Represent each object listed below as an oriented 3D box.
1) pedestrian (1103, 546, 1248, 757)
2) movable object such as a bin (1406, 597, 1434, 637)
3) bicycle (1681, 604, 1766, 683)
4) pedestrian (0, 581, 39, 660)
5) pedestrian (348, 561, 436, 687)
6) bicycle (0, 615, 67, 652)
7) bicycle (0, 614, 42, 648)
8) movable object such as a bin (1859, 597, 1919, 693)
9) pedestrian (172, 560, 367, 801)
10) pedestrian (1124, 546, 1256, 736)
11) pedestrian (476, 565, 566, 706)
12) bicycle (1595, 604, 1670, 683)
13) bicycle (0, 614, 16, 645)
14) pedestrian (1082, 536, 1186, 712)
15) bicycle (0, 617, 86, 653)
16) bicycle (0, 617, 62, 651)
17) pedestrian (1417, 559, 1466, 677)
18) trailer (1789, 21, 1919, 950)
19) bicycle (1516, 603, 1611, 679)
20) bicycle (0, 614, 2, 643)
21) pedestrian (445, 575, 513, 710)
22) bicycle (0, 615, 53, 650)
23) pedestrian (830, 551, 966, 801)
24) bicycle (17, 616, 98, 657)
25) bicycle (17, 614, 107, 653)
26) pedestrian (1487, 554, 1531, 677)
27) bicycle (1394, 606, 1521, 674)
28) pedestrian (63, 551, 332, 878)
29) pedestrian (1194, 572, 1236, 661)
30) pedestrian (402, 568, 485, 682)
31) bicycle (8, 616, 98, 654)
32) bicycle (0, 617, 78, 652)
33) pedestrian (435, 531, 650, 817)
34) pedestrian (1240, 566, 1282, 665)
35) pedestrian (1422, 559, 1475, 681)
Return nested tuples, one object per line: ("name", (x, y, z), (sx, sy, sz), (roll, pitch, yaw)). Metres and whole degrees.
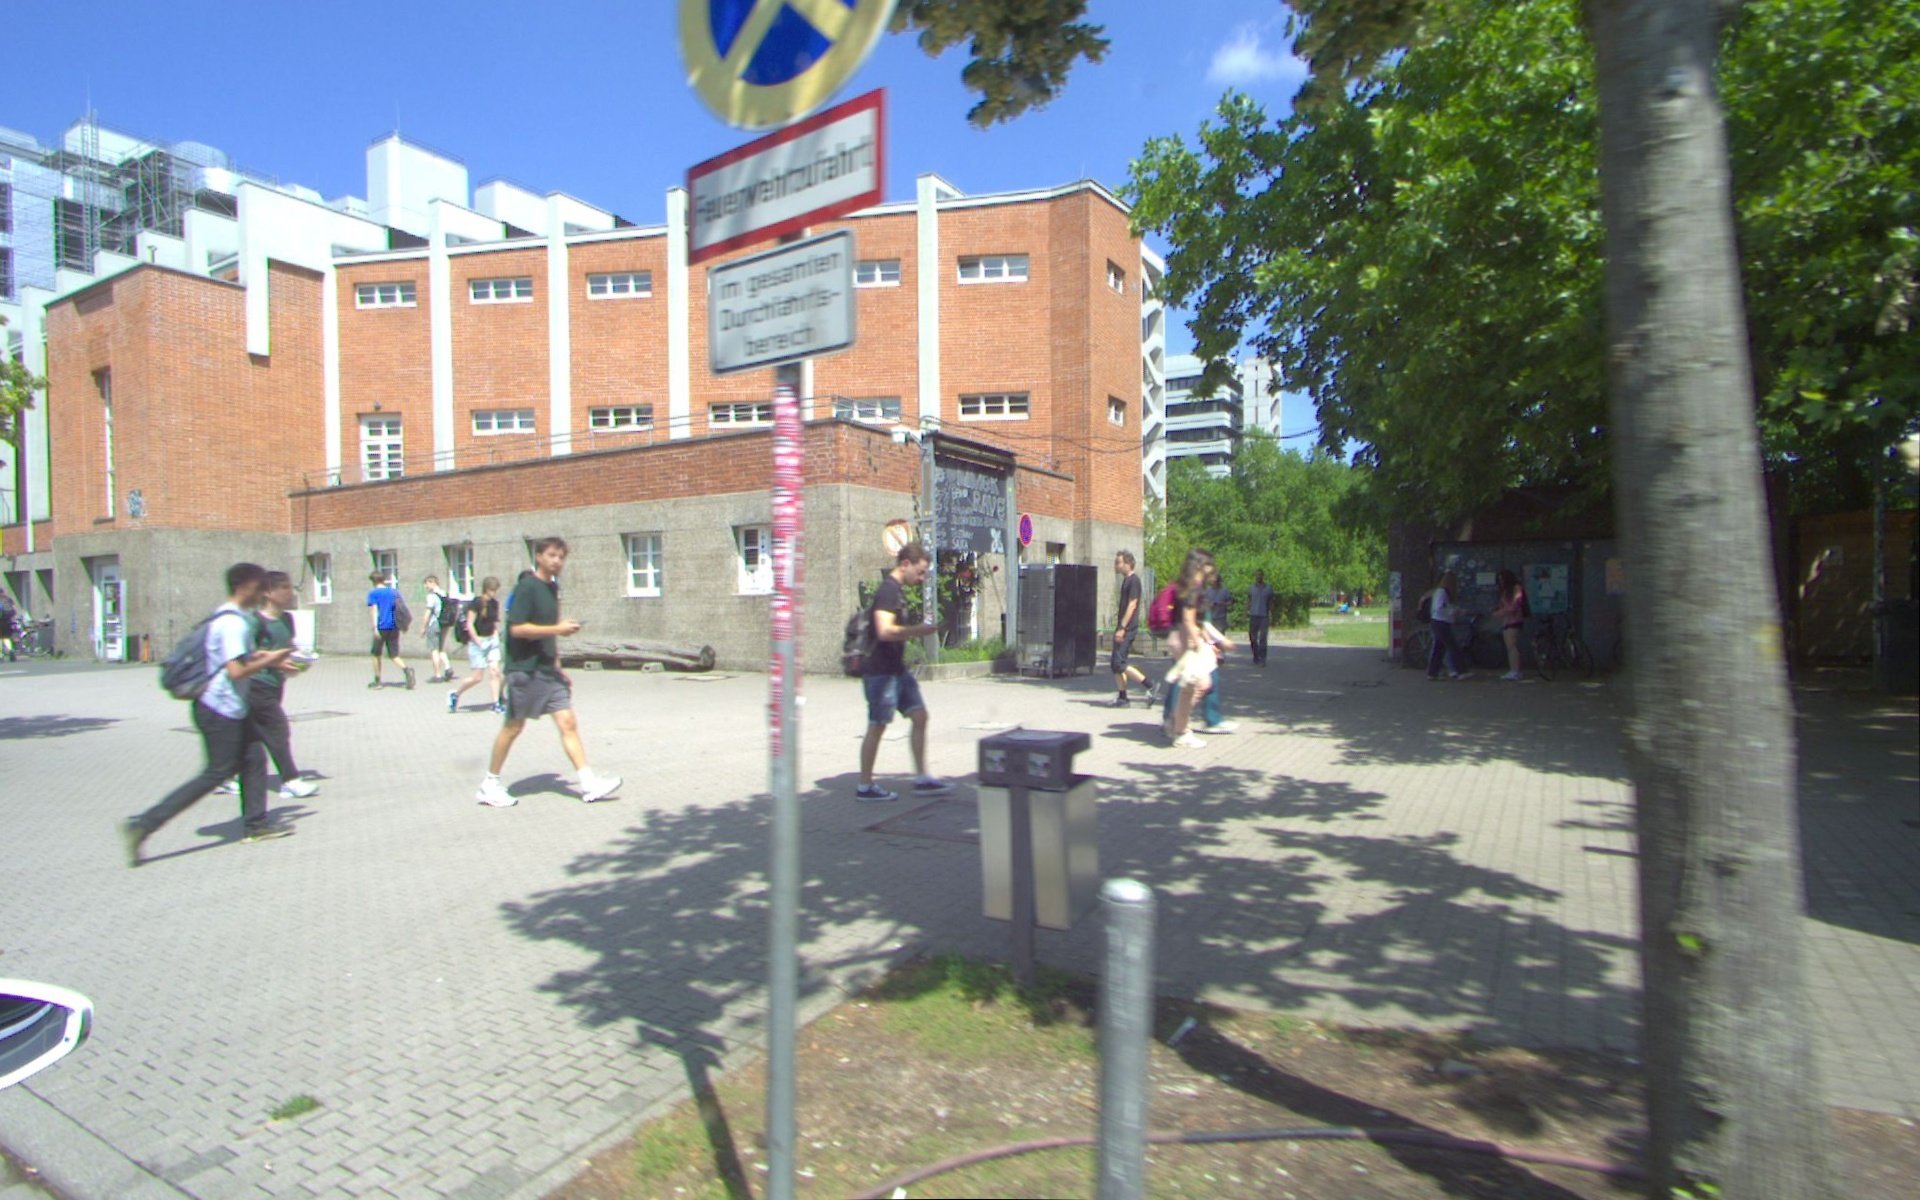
("pedestrian", (1.835, 0.399, 8.469), (0.935, 1.660, 0.873), (-1, 2, 31))
("movable object such as a bin", (15.557, 0.575, 33.877), (0.756, 1.338, 0.780), (1, 1, 31))
("bicycle", (11.361, 0.619, 14.865), (0.774, 1.085, 2.383), (-1, -1, 43))
("pedestrian", (-23.366, 0.488, 24.599), (1.100, 1.885, 0.788), (0, 1, 32))
("pedestrian", (-8.961, 0.358, 15.809), (0.978, 1.918, 0.700), (1, 3, 26))
("bicycle", (-27.649, 0.986, 29.566), (0.552, 0.998, 1.805), (0, 2, 30))
("bicycle", (-29.704, 0.984, 30.970), (0.552, 0.998, 1.805), (0, 2, 30))
("movable object such as a bin", (11.000, 0.517, 11.615), (0.732, 1.085, 0.598), (-2, 0, 32))
("pedestrian", (-5.269, 0.581, 7.708), (0.975, 1.743, 0.703), (-1, 2, -11))
("pedestrian", (2.145, 0.368, 9.311), (0.935, 1.659, 0.874), (-2, 1, 30))
("pedestrian", (-5.816, 0.447, 13.299), (0.739, 1.813, 0.708), (0, 3, 19))
("bicycle", (10.280, 0.624, 15.263), (0.773, 1.086, 2.387), (-1, 0, 38))
("bicycle", (-31.394, 0.982, 31.908), (0.552, 0.998, 1.805), (0, 2, 30))
("pedestrian", (1.969, 0.250, 11.263), (1.057, 1.893, 0.761), (-1, 3, 16))
("bicycle", (-26.393, 0.979, 28.781), (0.552, 0.924, 1.805), (0, 2, 30))
("bicycle", (-28.233, 1.019, 30.044), (0.552, 0.924, 1.805), (0, 2, 30))
("pedestrian", (8.003, 0.297, 16.653), (0.548, 1.908, 0.529), (-2, 2, 3))
("trailer", (6.112, -0.424, 2.227), (6.164, 3.093, 2.686), (0, 2, 30))
("bicycle", (9.553, 0.612, 15.800), (0.775, 1.086, 2.382), (-1, 0, 44))
("bicycle", (-33.021, 0.993, 33.137), (0.552, 0.998, 1.805), (0, 2, 30))
("pedestrian", (-6.038, 0.515, 12.580), (0.561, 1.653, 0.502), (0, 1, 19))
("bicycle", (-28.805, 0.996, 30.354), (0.552, 0.998, 1.805), (0, 2, 30))
("pedestrian", (-0.452, 0.480, 6.968), (0.815, 1.617, 0.849), (-1, 2, -12))
("bicycle", (-24.867, 0.986, 27.622), (0.552, 1.047, 1.532), (0, 2, 30))
("bicycle", (-25.290, 0.930, 28.226), (0.552, 0.982, 1.787), (0, 1, 30))
("pedestrian", (8.694, 0.235, 15.850), (0.523, 1.908, 0.445), (1, 1, 41))
("bicycle", (8.845, 0.695, 17.839), (1.997, 1.155, 0.572), (0, 0, 31))
("pedestrian", (-4.519, 0.608, 5.972), (0.702, 1.739, 1.100), (-1, 1, 40))
("pedestrian", (5.168, 0.309, 20.272), (0.718, 1.762, 0.833), (1, 2, 20))
("pedestrian", (-8.584, 0.394, 16.649), (0.978, 1.829, 0.700), (1, 4, 26))
("bicycle", (-25.835, 0.986, 28.552), (0.551, 0.991, 1.780), (0, 1, 29))
("bicycle", (-27.072, 0.999, 29.289), (0.552, 0.924, 1.805), (0, 2, 30))
("pedestrian", (-2.899, 0.491, 7.052), (1.094, 1.885, 0.854), (-1, 1, 5))
("pedestrian", (5.952, 0.298, 19.800), (0.719, 1.908, 0.833), (-1, 1, 21))
("pedestrian", (7.781, 0.315, 15.957), (0.521, 1.908, 0.556), (0, 1, -29))
